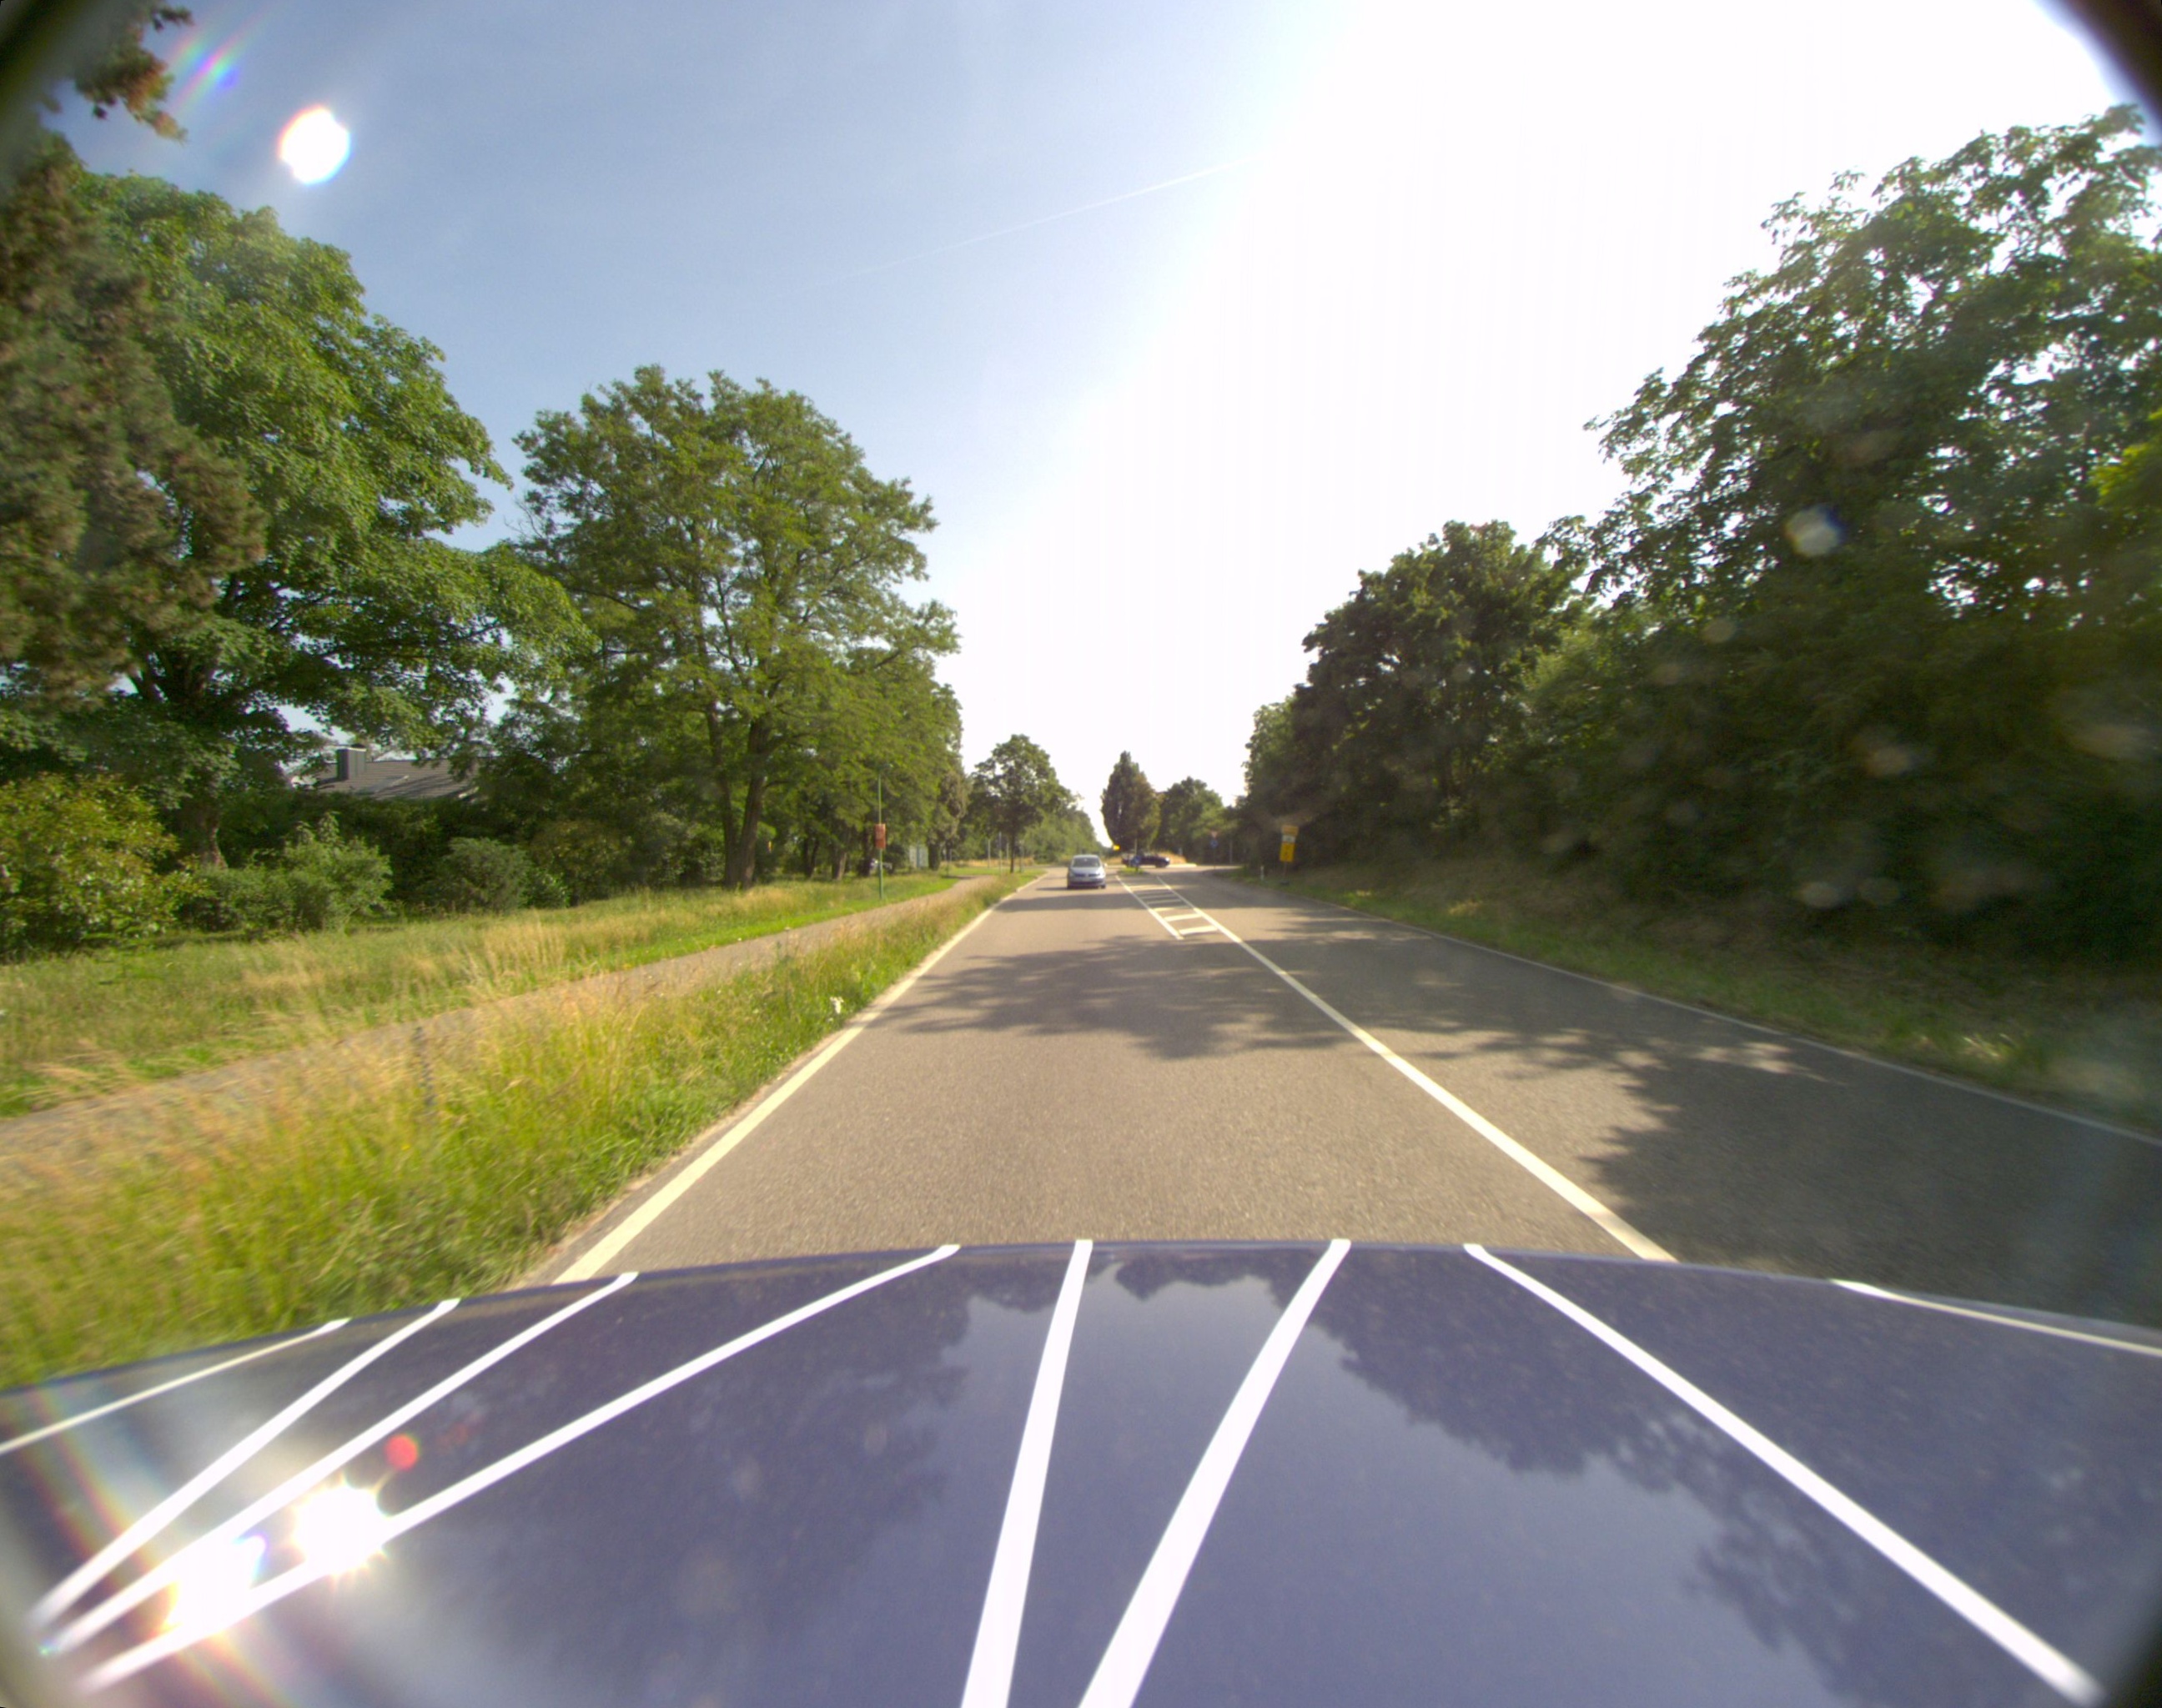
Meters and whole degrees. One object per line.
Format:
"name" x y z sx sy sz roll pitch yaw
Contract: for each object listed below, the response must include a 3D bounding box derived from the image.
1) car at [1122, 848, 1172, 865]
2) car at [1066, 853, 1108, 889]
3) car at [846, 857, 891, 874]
"car" 6.313 0.226 72.954 4.617 1.592 1.953 0 1 1
"car" 0.335 0.753 35.816 1.808 1.592 4.269 0 0 2
"car" -21.121 1.140 75.536 4.137 1.540 1.901 -2 1 -11
